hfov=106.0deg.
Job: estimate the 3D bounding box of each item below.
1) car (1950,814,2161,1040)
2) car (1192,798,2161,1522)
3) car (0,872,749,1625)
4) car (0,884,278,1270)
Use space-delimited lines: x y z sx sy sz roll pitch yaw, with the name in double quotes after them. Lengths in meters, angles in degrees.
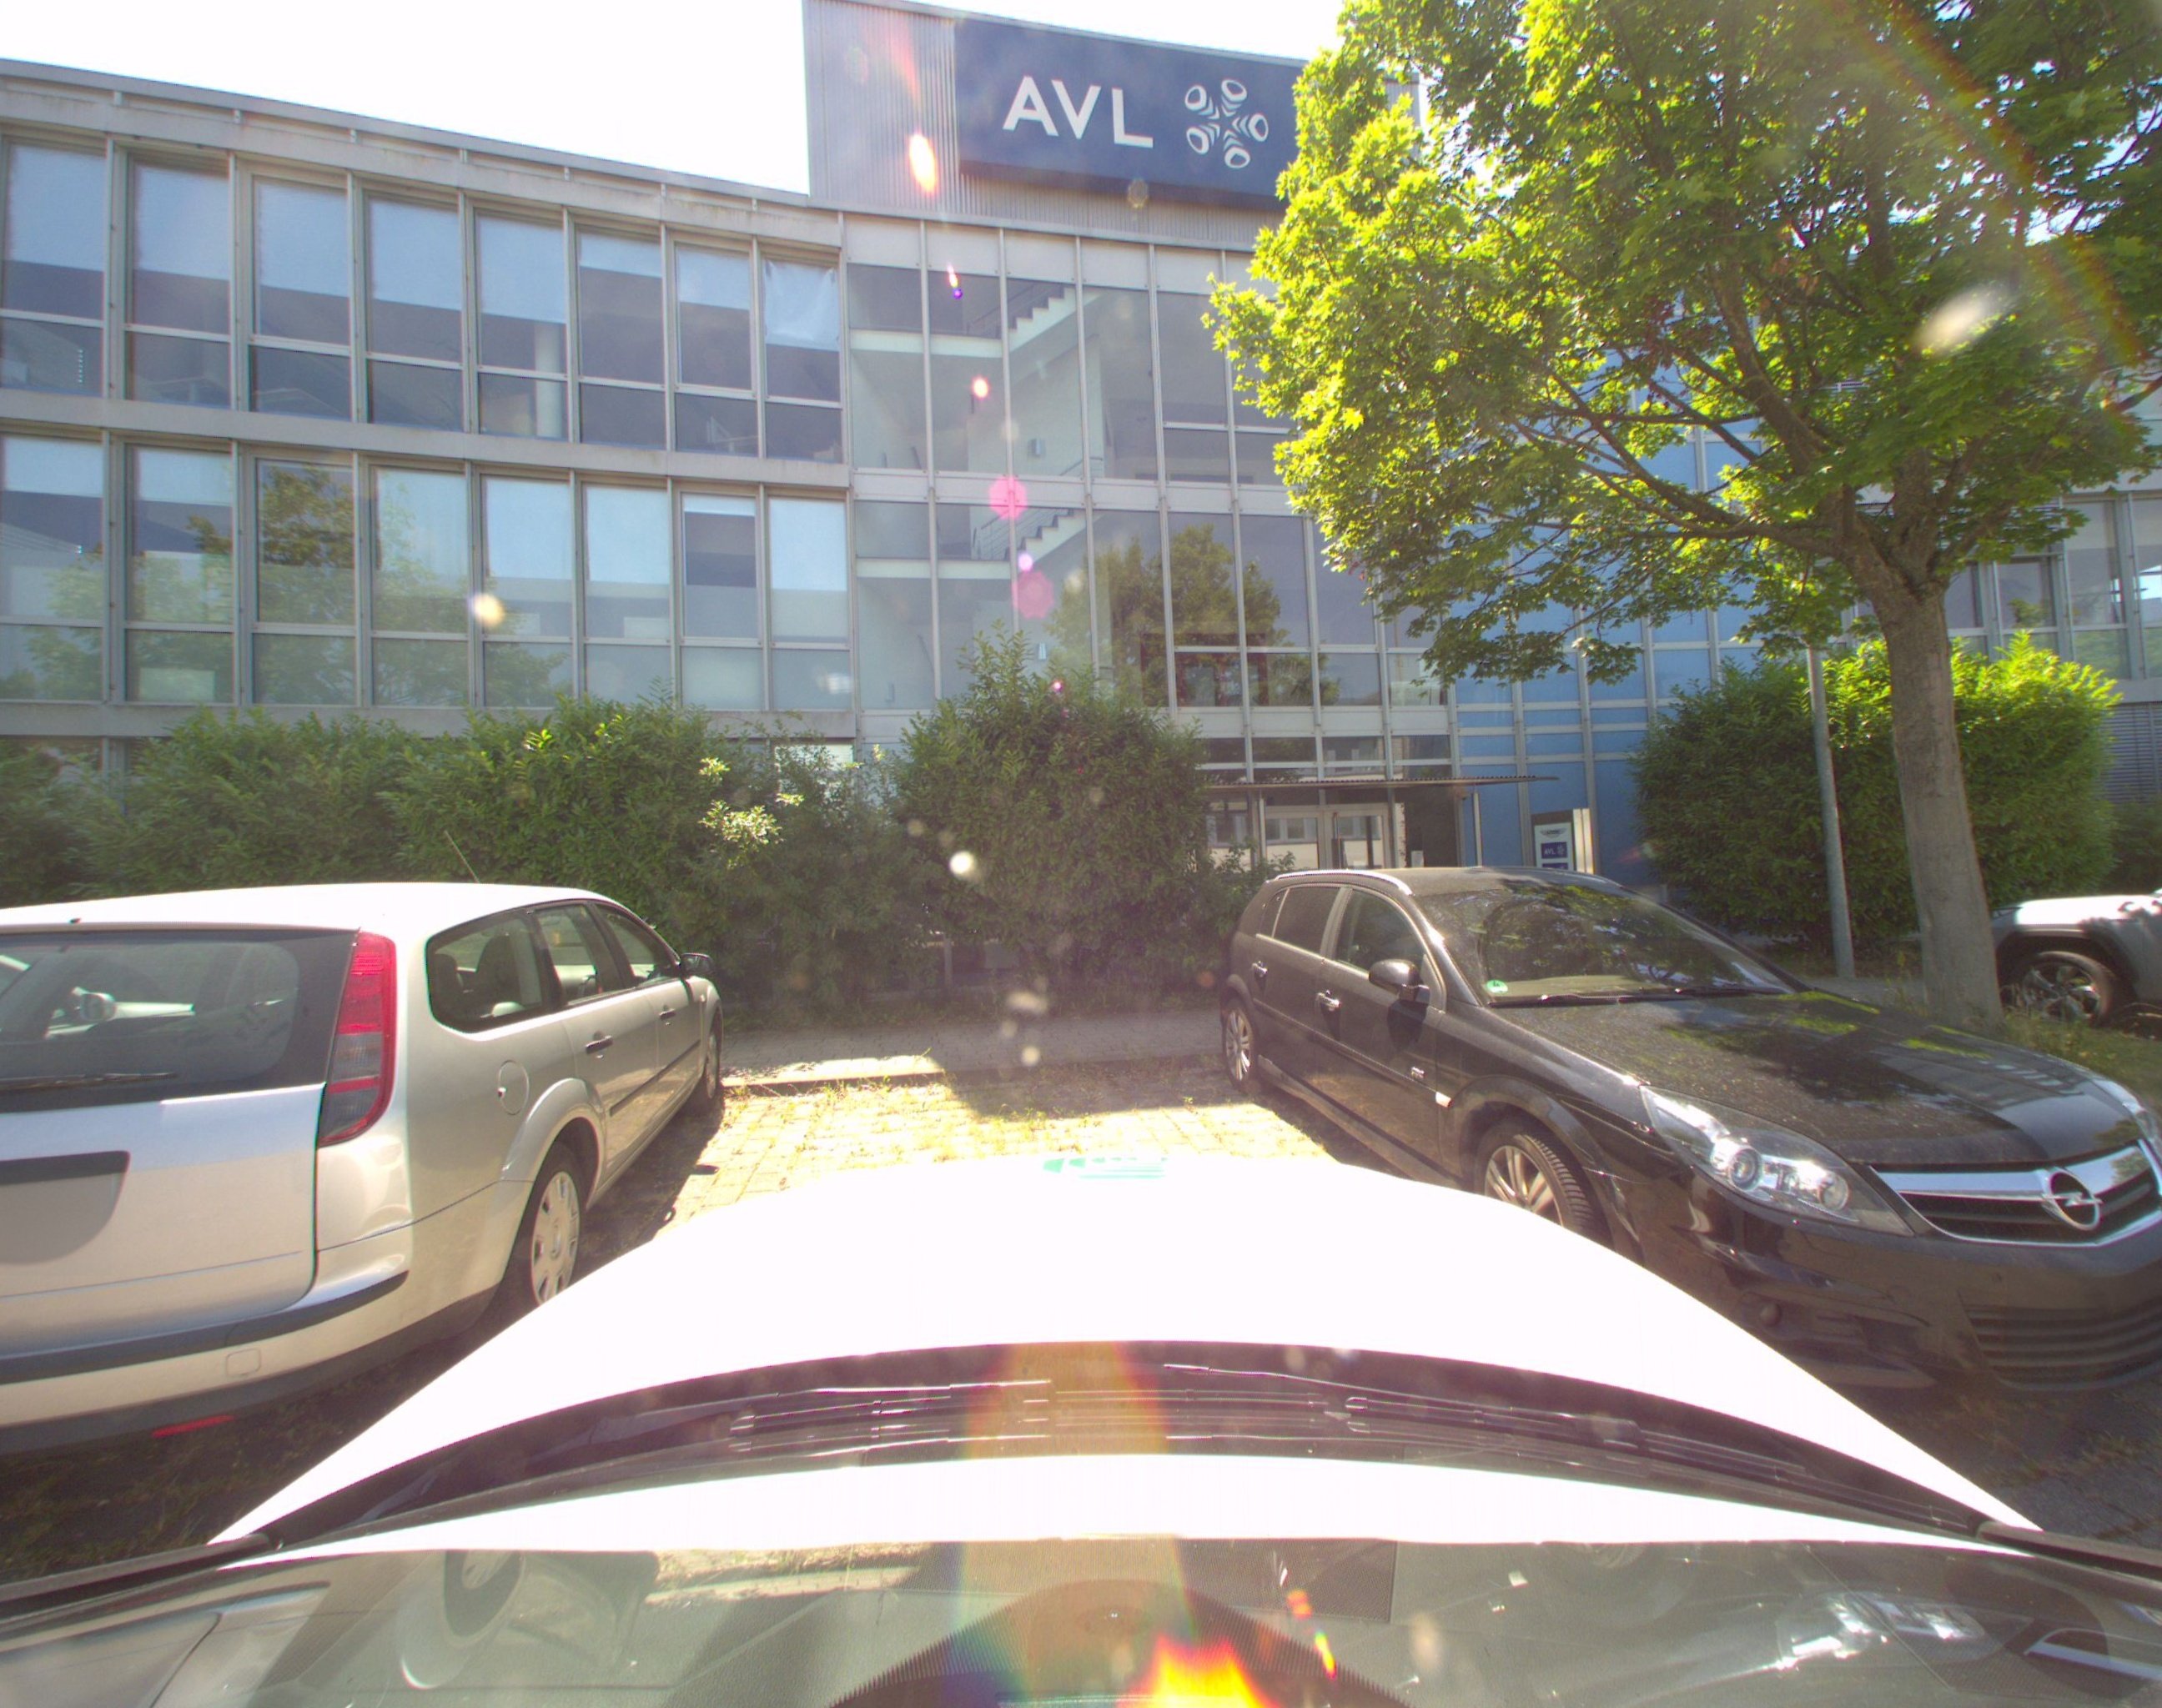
8.875 0.512 5.193 1.849 1.643 4.323 -1 0 -6 "car"
2.051 0.704 4.159 1.757 1.549 4.552 -1 -1 -8 "car"
-2.825 0.853 3.699 1.721 1.479 4.329 -1 -1 -13 "car"
-4.881 0.867 2.561 1.650 1.479 3.871 -1 -2 -16 "car"
